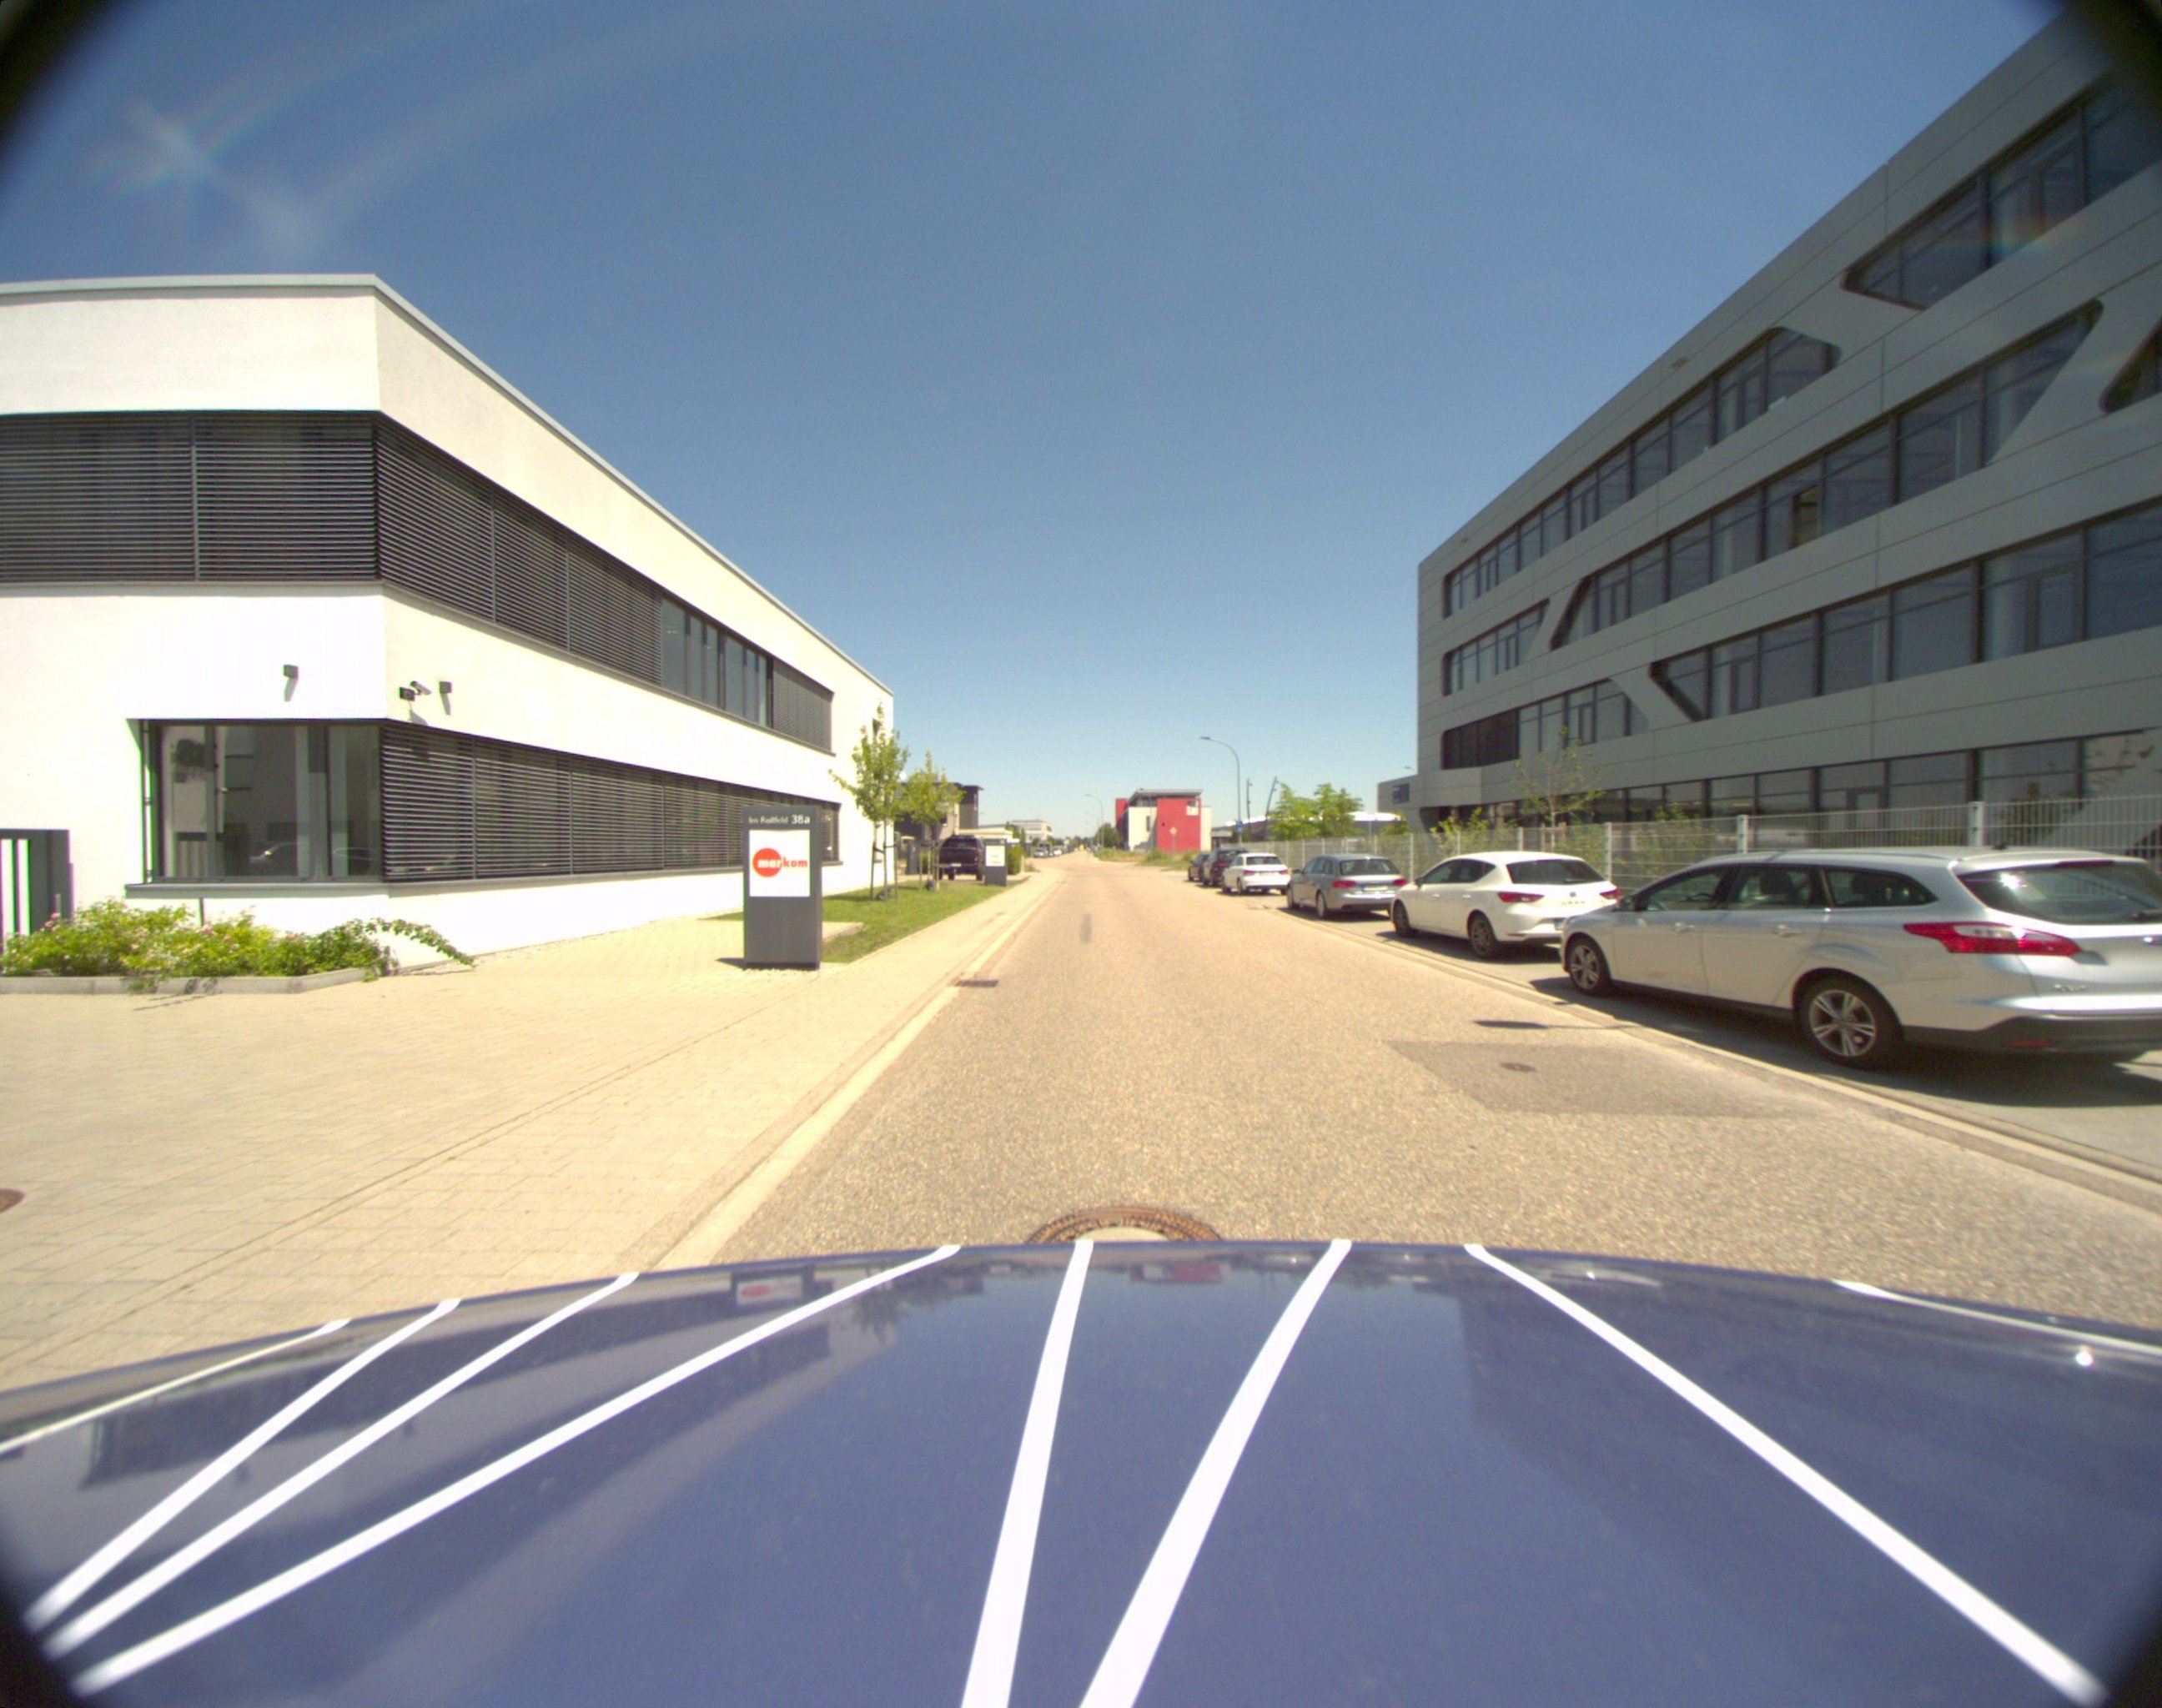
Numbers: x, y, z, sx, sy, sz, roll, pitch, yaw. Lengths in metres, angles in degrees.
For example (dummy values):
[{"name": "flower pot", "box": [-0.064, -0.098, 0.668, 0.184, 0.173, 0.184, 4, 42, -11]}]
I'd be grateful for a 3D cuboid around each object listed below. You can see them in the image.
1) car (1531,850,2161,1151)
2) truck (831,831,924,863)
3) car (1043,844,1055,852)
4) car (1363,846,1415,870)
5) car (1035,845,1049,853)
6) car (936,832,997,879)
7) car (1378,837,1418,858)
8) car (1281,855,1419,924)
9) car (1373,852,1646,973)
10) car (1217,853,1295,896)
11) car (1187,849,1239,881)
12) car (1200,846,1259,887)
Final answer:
[{"name": "car", "box": [5.975, 0.770, 6.335, 1.707, 1.527, 4.571, -2, 1, 0]}, {"name": "truck", "box": [-20.042, -0.696, 75.187, 8.354, 3.005, 2.625, -1, 1, 1]}, {"name": "car", "box": [-5.595, -1.035, 132.375, 1.828, 1.269, 3.885, 0, 1, 1]}, {"name": "car", "box": [20.219, 0.207, 50.081, 1.775, 1.502, 4.105, 0, 1, 0]}, {"name": "car", "box": [-5.879, -0.750, 116.030, 1.828, 1.269, 3.885, 0, 1, 1]}, {"name": "car", "box": [-5.159, 0.128, 35.067, 1.999, 2.001, 5.800, 0, -1, -1]}, {"name": "car", "box": [25.495, -0.478, 61.229, 1.610, 1.611, 4.254, -1, 0, 3]}, {"name": "car", "box": [6.107, 0.732, 17.873, 1.688, 1.378, 4.639, -1, 0, 1]}, {"name": "car", "box": [6.249, 0.735, 11.786, 1.707, 1.435, 4.439, -2, 1, 0]}, {"name": "car", "box": [6.087, 0.657, 26.819, 1.704, 1.378, 3.936, -1, 0, -2]}, {"name": "car", "box": [6.569, 0.516, 38.206, 1.774, 1.458, 4.185, -1, 0, -2]}, {"name": "car", "box": [6.333, 0.496, 32.796, 1.774, 1.641, 4.851, -1, 0, 2]}]
